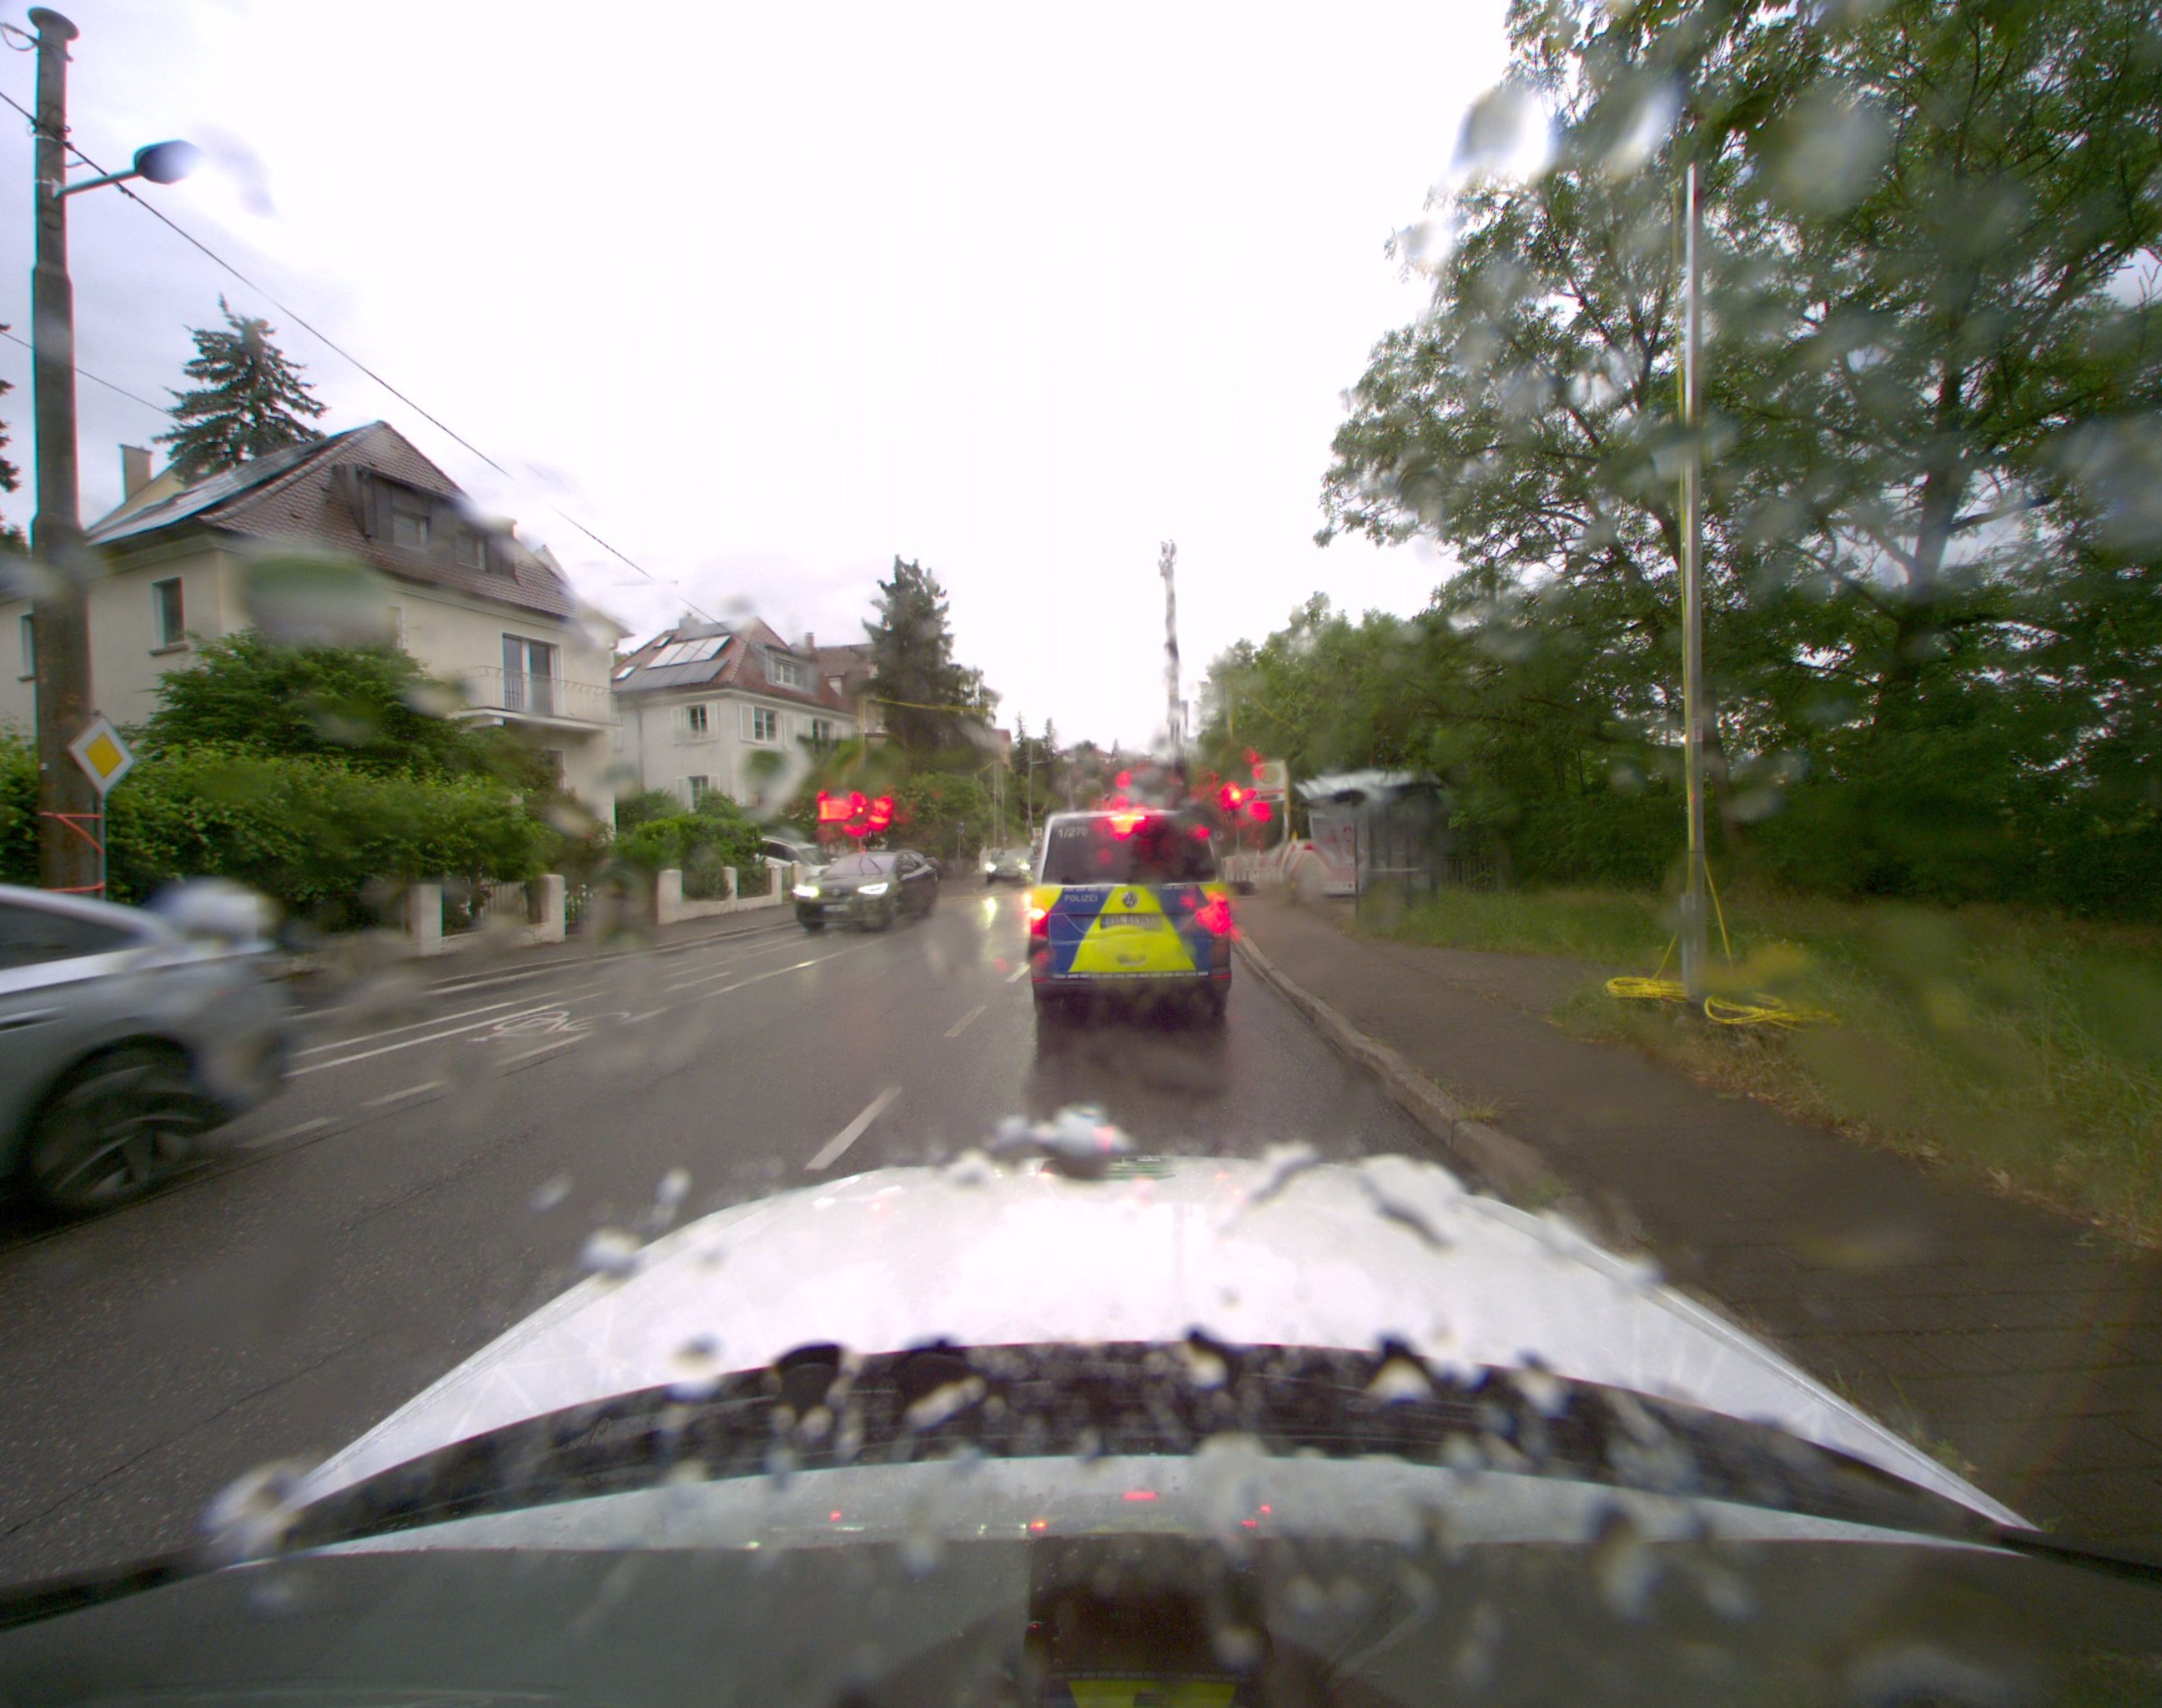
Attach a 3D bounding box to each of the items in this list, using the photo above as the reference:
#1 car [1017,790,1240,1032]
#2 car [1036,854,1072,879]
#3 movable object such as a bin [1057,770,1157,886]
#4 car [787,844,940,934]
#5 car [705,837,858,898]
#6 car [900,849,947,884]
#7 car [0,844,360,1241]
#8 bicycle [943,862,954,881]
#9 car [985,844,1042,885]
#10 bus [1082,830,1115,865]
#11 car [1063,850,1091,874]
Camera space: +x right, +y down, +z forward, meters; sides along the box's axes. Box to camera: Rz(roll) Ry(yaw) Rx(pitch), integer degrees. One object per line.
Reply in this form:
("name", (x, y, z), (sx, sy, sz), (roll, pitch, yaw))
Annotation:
("car", (0.465, 0.482, 8.934), (1.886, 2.050, 4.002), (0, 0, 2))
("car", (-1.639, 0.727, 50.431), (1.756, 1.463, 3.891), (0, 0, 5))
("movable object such as a bin", (1.112, -0.929, 31.765), (2.809, 4.177, 4.400), (0, 0, 17))
("car", (-4.518, 0.646, 17.645), (1.858, 1.621, 4.170), (-1, 1, 5))
("car", (-10.275, 0.460, 28.050), (4.599, 2.007, 1.907), (0, 0, 13))
("car", (-7.448, 0.558, 38.292), (1.770, 1.486, 3.720), (0, 1, -17))
("car", (-5.068, 0.725, 2.291), (1.848, 1.527, 4.816), (0, 0, -1))
("bicycle", (-6.494, 0.828, 39.882), (0.463, 0.897, 1.627), (-1, 0, -12))
("car", (-2.930, 0.451, 36.159), (1.986, 1.674, 4.690), (0, 0, 2))
("bus", (2.108, -0.743, 92.795), (2.827, 3.718, 12.022), (0, 0, 5))
("car", (-0.319, 0.588, 62.375), (1.974, 1.748, 4.549), (-1, 0, -2))
